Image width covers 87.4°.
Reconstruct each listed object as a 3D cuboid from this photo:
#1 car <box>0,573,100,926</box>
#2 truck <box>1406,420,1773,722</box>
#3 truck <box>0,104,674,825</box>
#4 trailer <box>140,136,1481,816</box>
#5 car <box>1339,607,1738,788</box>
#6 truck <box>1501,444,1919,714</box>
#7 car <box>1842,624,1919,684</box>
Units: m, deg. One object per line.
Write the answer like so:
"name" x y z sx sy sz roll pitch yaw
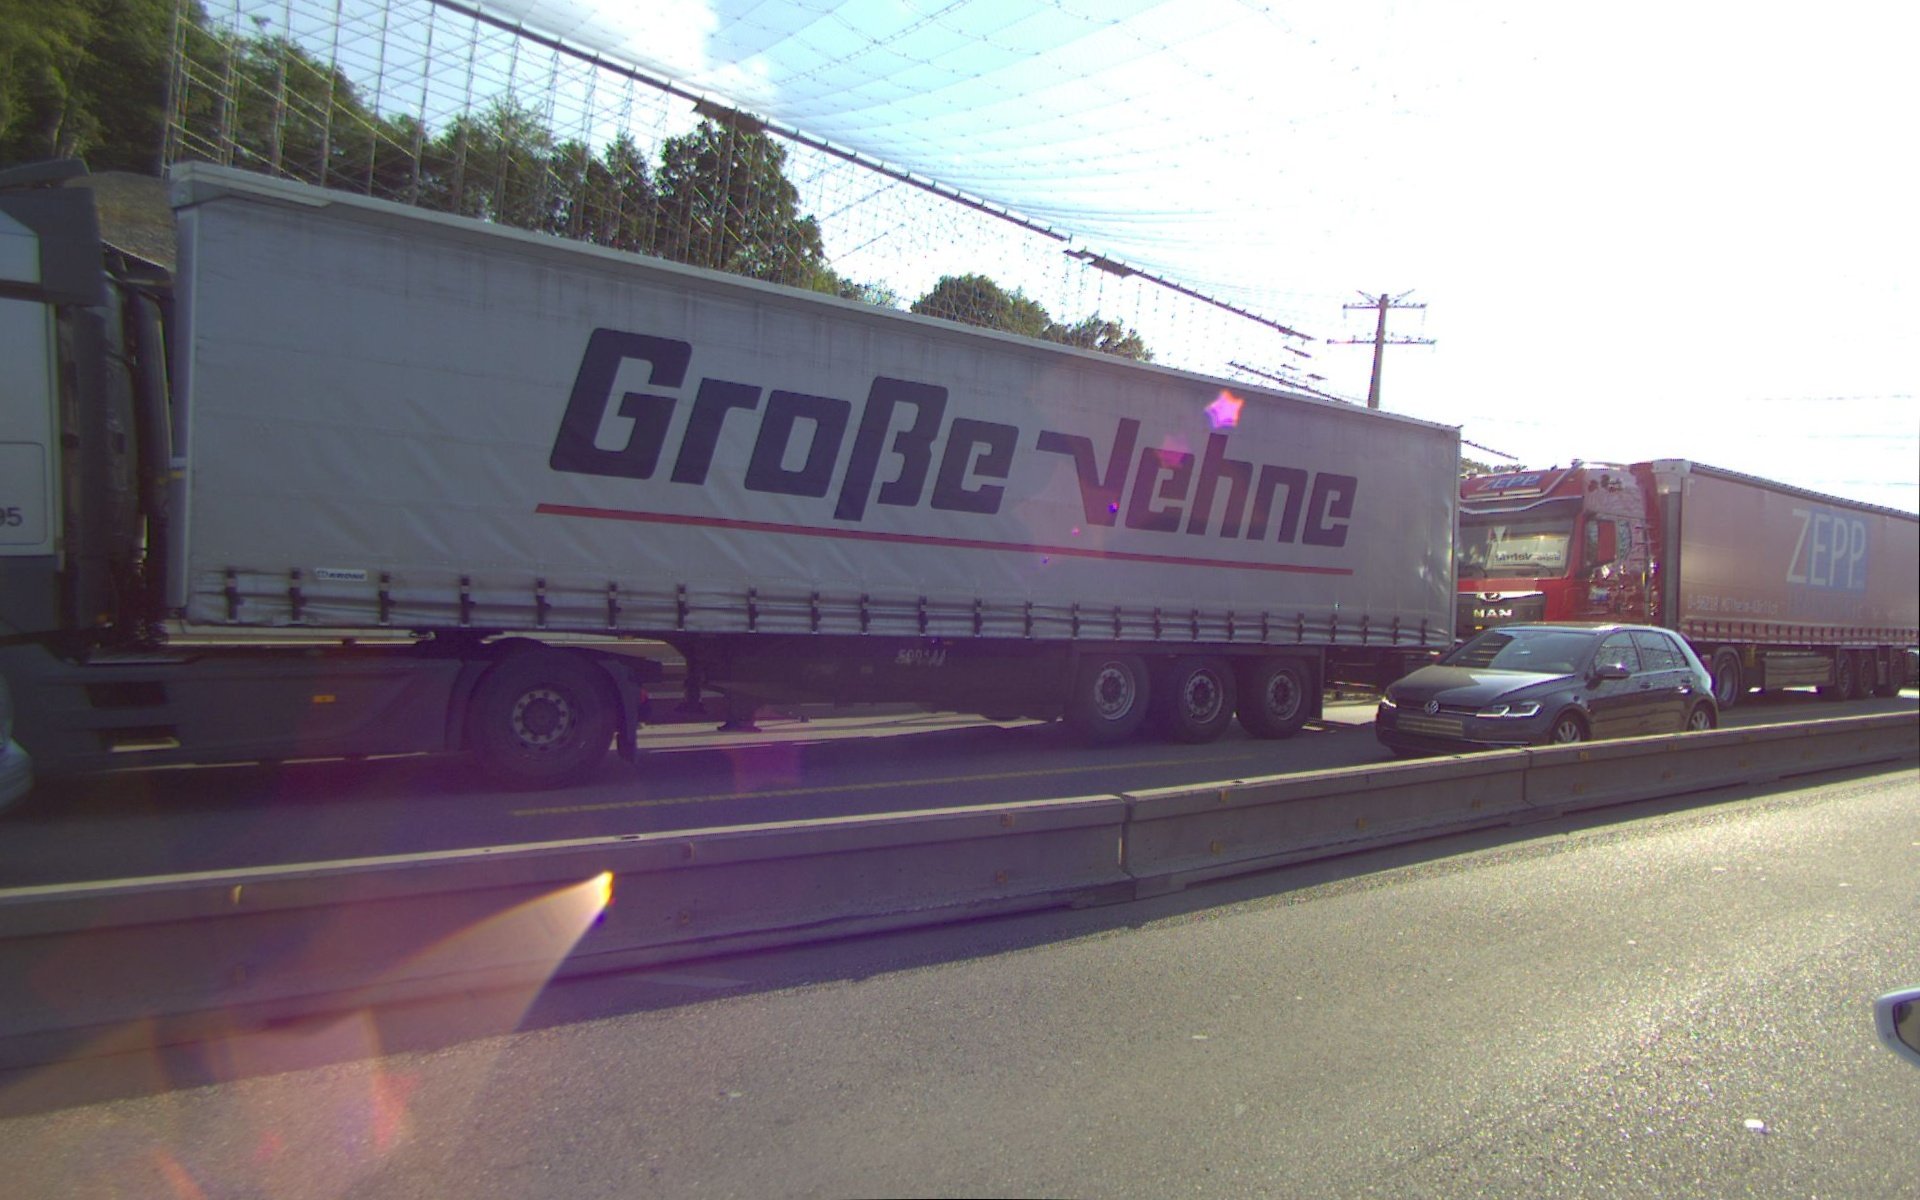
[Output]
"car" -6.308 0.575 3.462 4.781 1.458 1.724 2 -2 -30
"truck" 10.773 -0.311 16.982 6.610 4.196 2.770 2 -1 -34
"truck" -5.492 -0.762 7.531 5.865 4.196 2.773 2 -1 -31
"trailer" 0.239 -0.556 10.948 13.806 4.196 2.785 2 -1 -31
"car" 6.069 0.891 10.398 4.349 1.483 1.642 2 1 -31
"truck" 16.104 -0.121 20.588 13.664 4.196 2.770 2 -1 -34
"car" 25.879 1.454 27.367 4.093 1.467 1.711 2 1 -33
